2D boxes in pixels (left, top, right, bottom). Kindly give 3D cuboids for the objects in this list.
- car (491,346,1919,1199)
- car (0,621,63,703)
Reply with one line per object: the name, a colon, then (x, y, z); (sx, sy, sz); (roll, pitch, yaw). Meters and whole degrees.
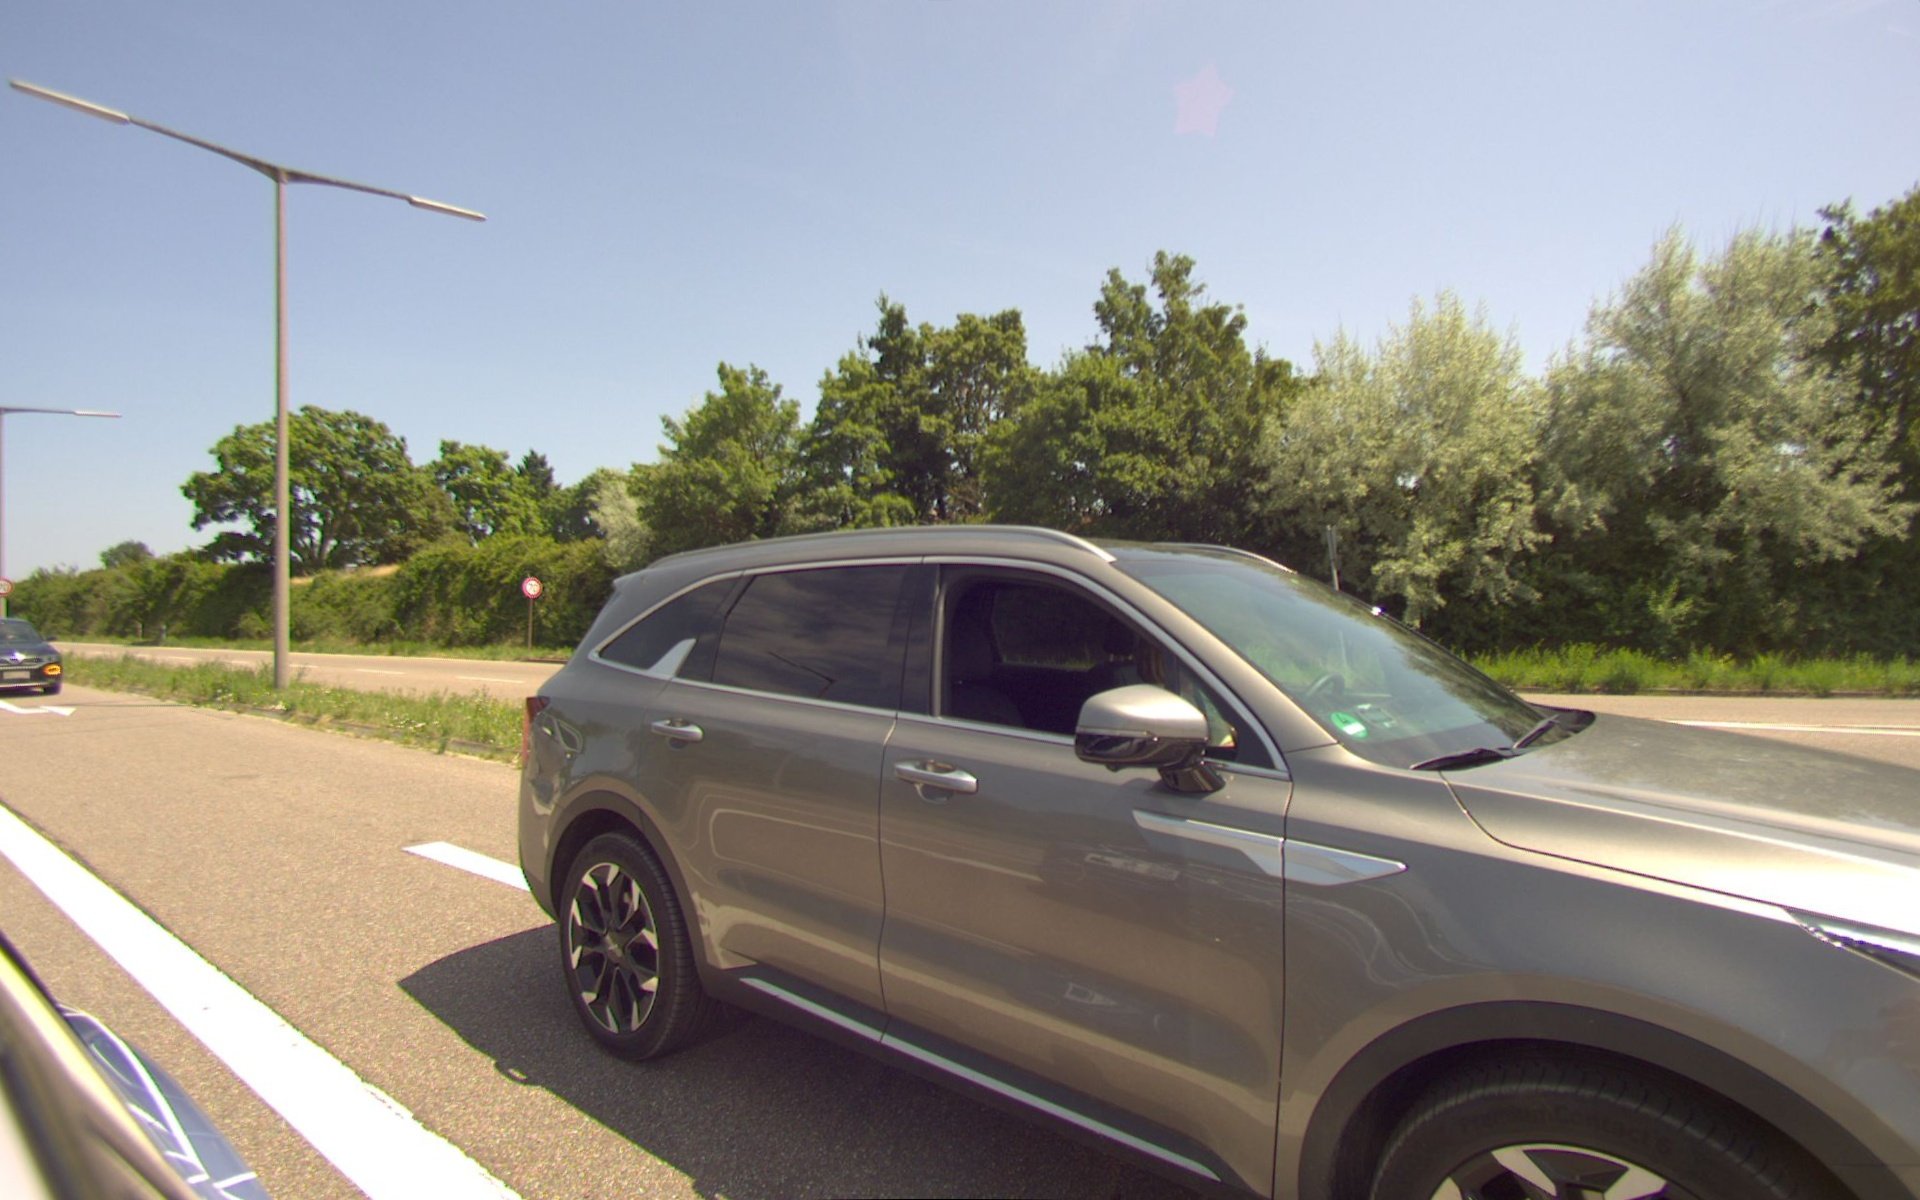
car: (0.535, 0.561, 2.997); (4.528, 1.681, 1.762); (-2, -2, 40)
car: (-19.306, 1.187, 20.067); (3.997, 1.511, 1.731); (-2, -1, 40)
